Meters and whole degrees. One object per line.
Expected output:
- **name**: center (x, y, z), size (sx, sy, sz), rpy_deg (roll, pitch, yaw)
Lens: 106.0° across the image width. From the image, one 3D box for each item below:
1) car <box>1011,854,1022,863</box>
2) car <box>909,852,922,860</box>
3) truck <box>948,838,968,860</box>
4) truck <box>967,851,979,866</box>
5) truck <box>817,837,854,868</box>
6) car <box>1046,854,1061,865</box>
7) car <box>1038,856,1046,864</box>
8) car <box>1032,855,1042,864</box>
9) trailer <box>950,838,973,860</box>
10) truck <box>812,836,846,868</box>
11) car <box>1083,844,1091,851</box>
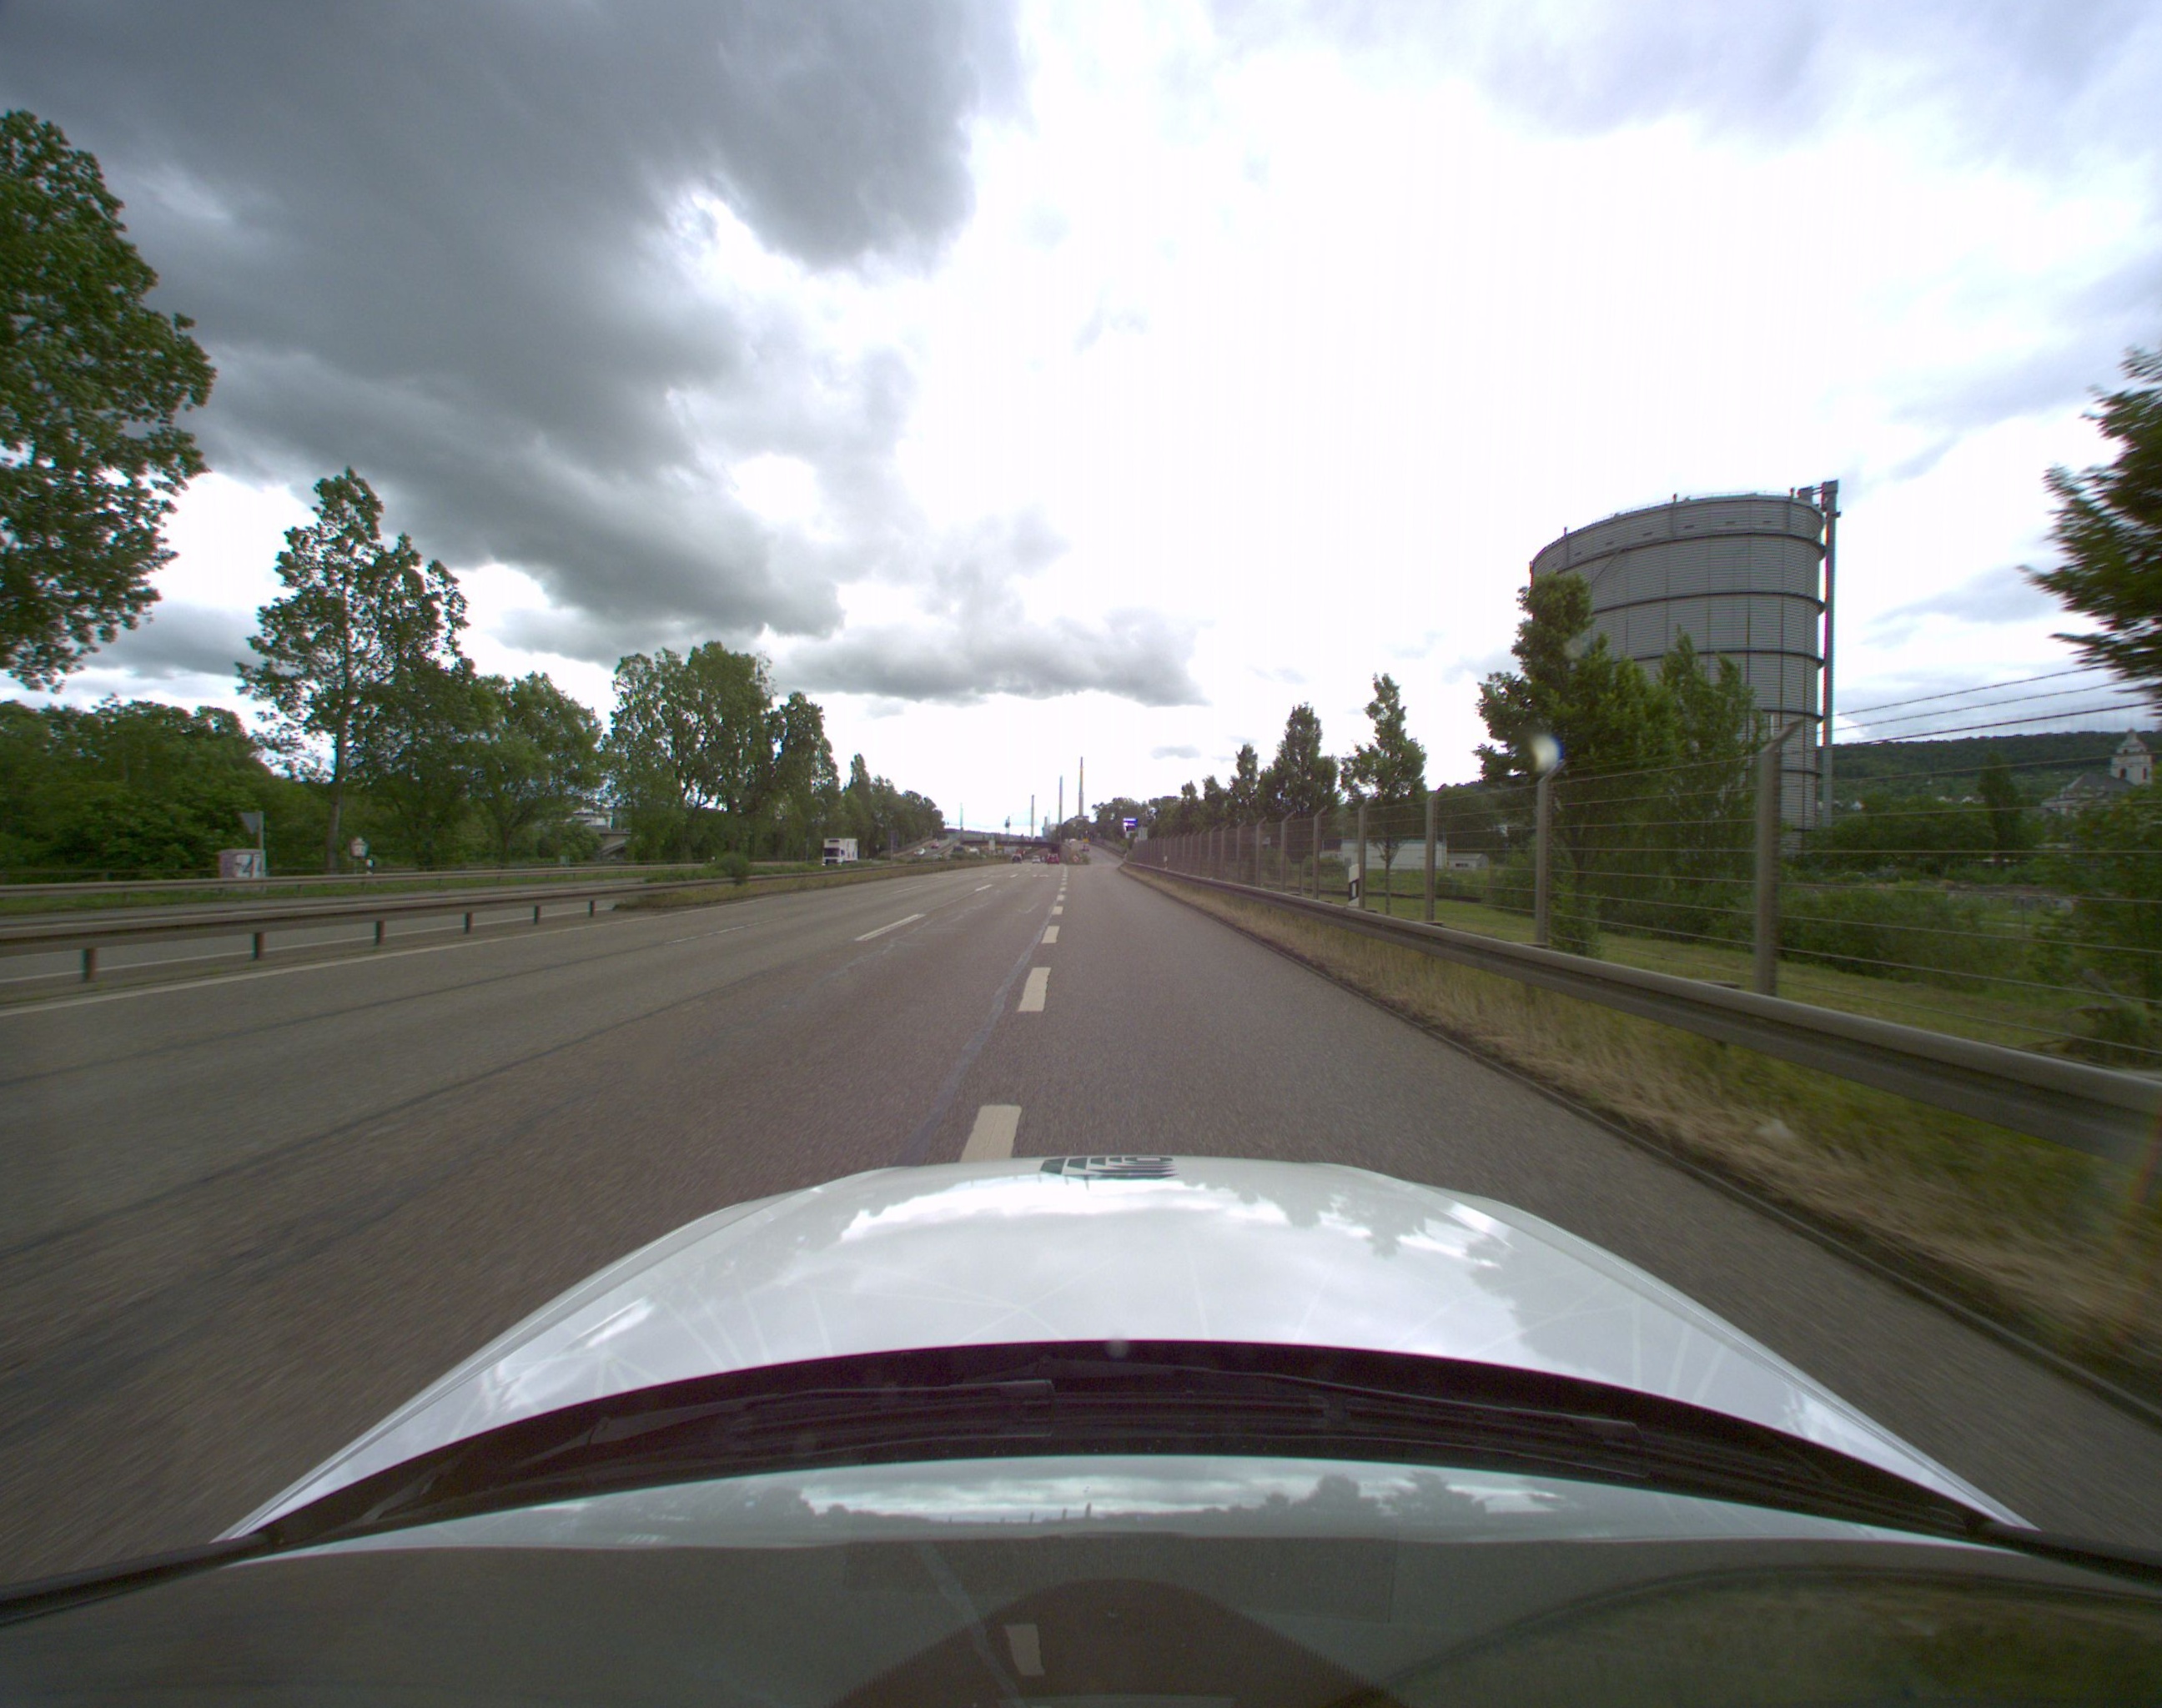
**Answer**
- **car**: center (-12.631, 0.901, 159.944), size (1.988, 1.684, 3.998), rpy_deg (1, 0, -1)
- **car**: center (-34.621, 0.472, 170.423), size (1.990, 1.644, 4.597), rpy_deg (2, 0, -4)
- **truck**: center (-26.409, -0.985, 174.825), size (3.454, 4.673, 6.206), rpy_deg (1, -1, -2)
- **truck**: center (-29.454, 1.326, 222.478), size (2.783, 3.937, 5.306), rpy_deg (1, -1, -3)
- **truck**: center (-30.056, -0.196, 99.936), size (2.977, 3.643, 6.327), rpy_deg (2, 0, -4)
- **car**: center (-3.858, 0.735, 115.345), size (1.989, 1.420, 3.995), rpy_deg (1, 0, -4)
- **car**: center (-9.929, 1.582, 208.038), size (1.915, 2.013, 3.992), rpy_deg (1, 0, -6)
- **car**: center (-9.213, 1.161, 170.058), size (1.988, 1.684, 3.998), rpy_deg (1, 0, -1)
- **trailer**: center (-26.641, -0.924, 182.461), size (3.454, 4.673, 14.770), rpy_deg (1, 0, -2)
- **truck**: center (-29.800, -0.202, 96.450), size (2.979, 3.643, 3.994), rpy_deg (2, 0, -5)
- **car**: center (1.477, -1.732, 207.756), size (1.743, 1.580, 4.087), rpy_deg (-3, 0, 2)
